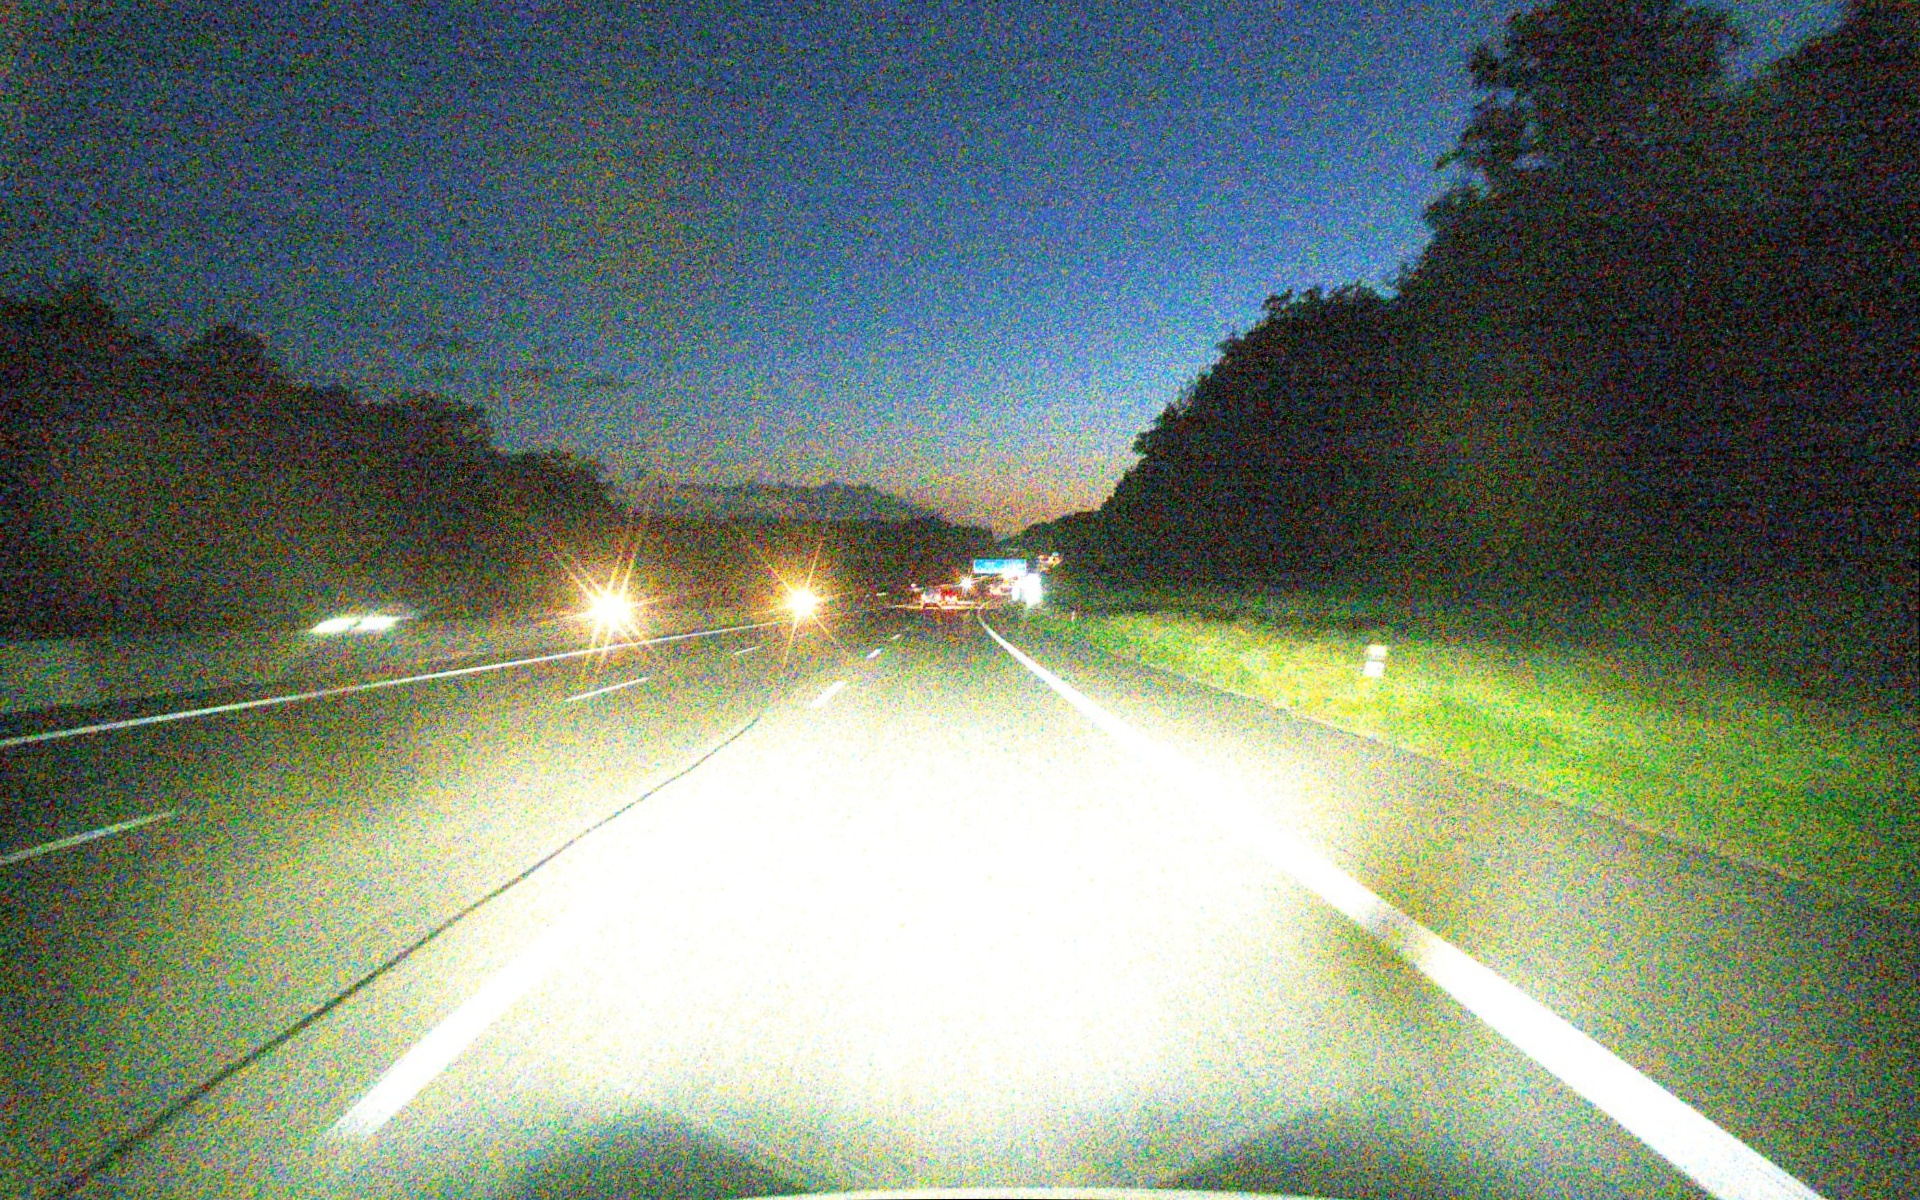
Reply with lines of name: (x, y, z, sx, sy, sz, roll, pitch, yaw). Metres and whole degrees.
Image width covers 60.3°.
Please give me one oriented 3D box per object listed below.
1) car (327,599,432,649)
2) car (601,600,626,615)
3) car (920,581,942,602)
car: (-18.882, 0.752, 53.991, 1.823, 1.524, 4.704, 0, 0, -1)
car: (-30.522, 0.681, 145.867, 1.560, 1.287, 3.998, 0, 0, -3)
car: (-3.328, -0.955, 189.572, 2.459, 2.354, 4.970, 0, 0, 0)
